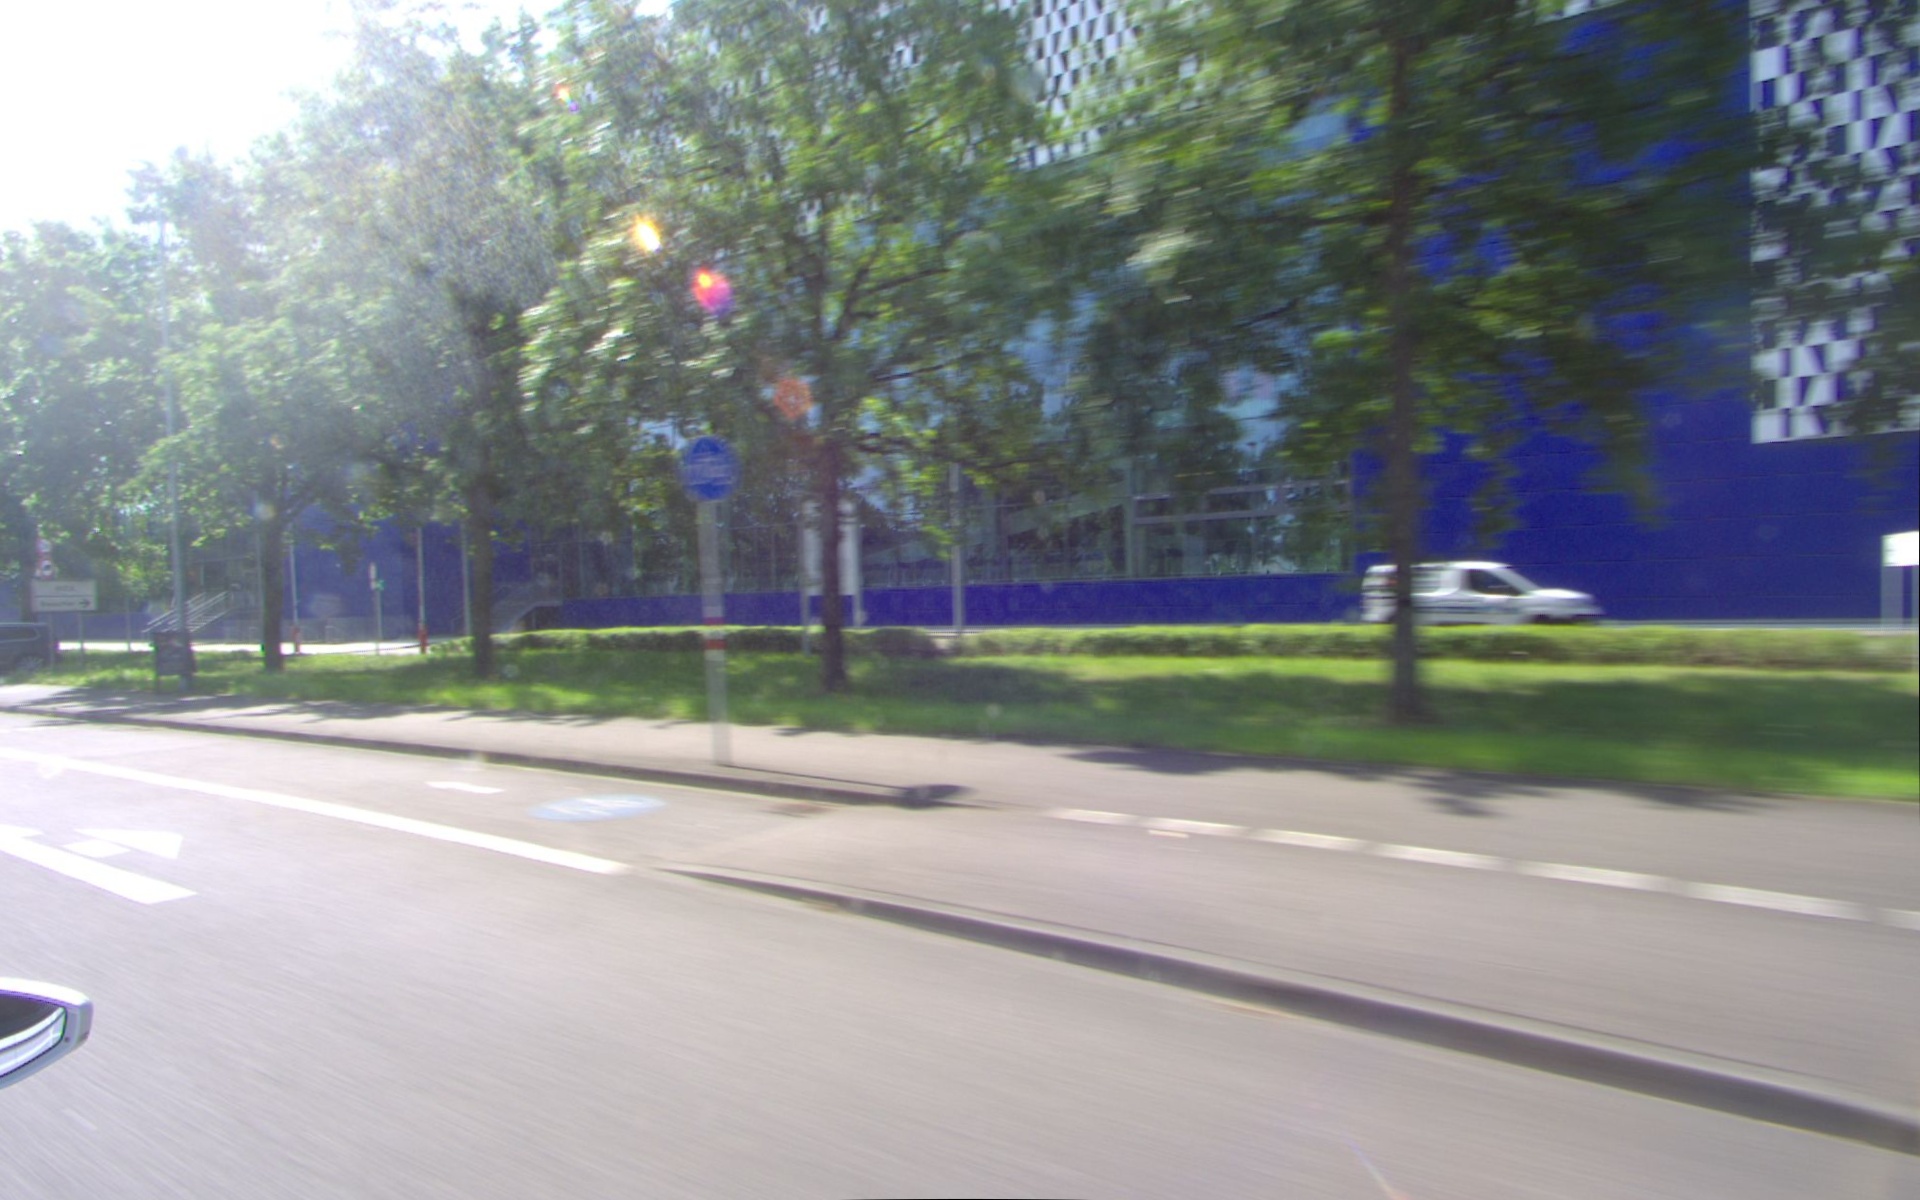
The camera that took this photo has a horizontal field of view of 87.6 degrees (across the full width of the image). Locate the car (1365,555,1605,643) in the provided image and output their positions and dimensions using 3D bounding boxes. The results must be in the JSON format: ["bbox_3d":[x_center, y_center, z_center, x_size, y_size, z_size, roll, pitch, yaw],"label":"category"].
[{"bbox_3d":[10.942,0.032,20.987,4.248,1.660,1.845,-1,-1,36],"label":"car"}]

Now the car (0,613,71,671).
[{"bbox_3d":[-30.510,1.356,30.803,1.822,1.716,4.423,-1,1,39],"label":"car"}]
